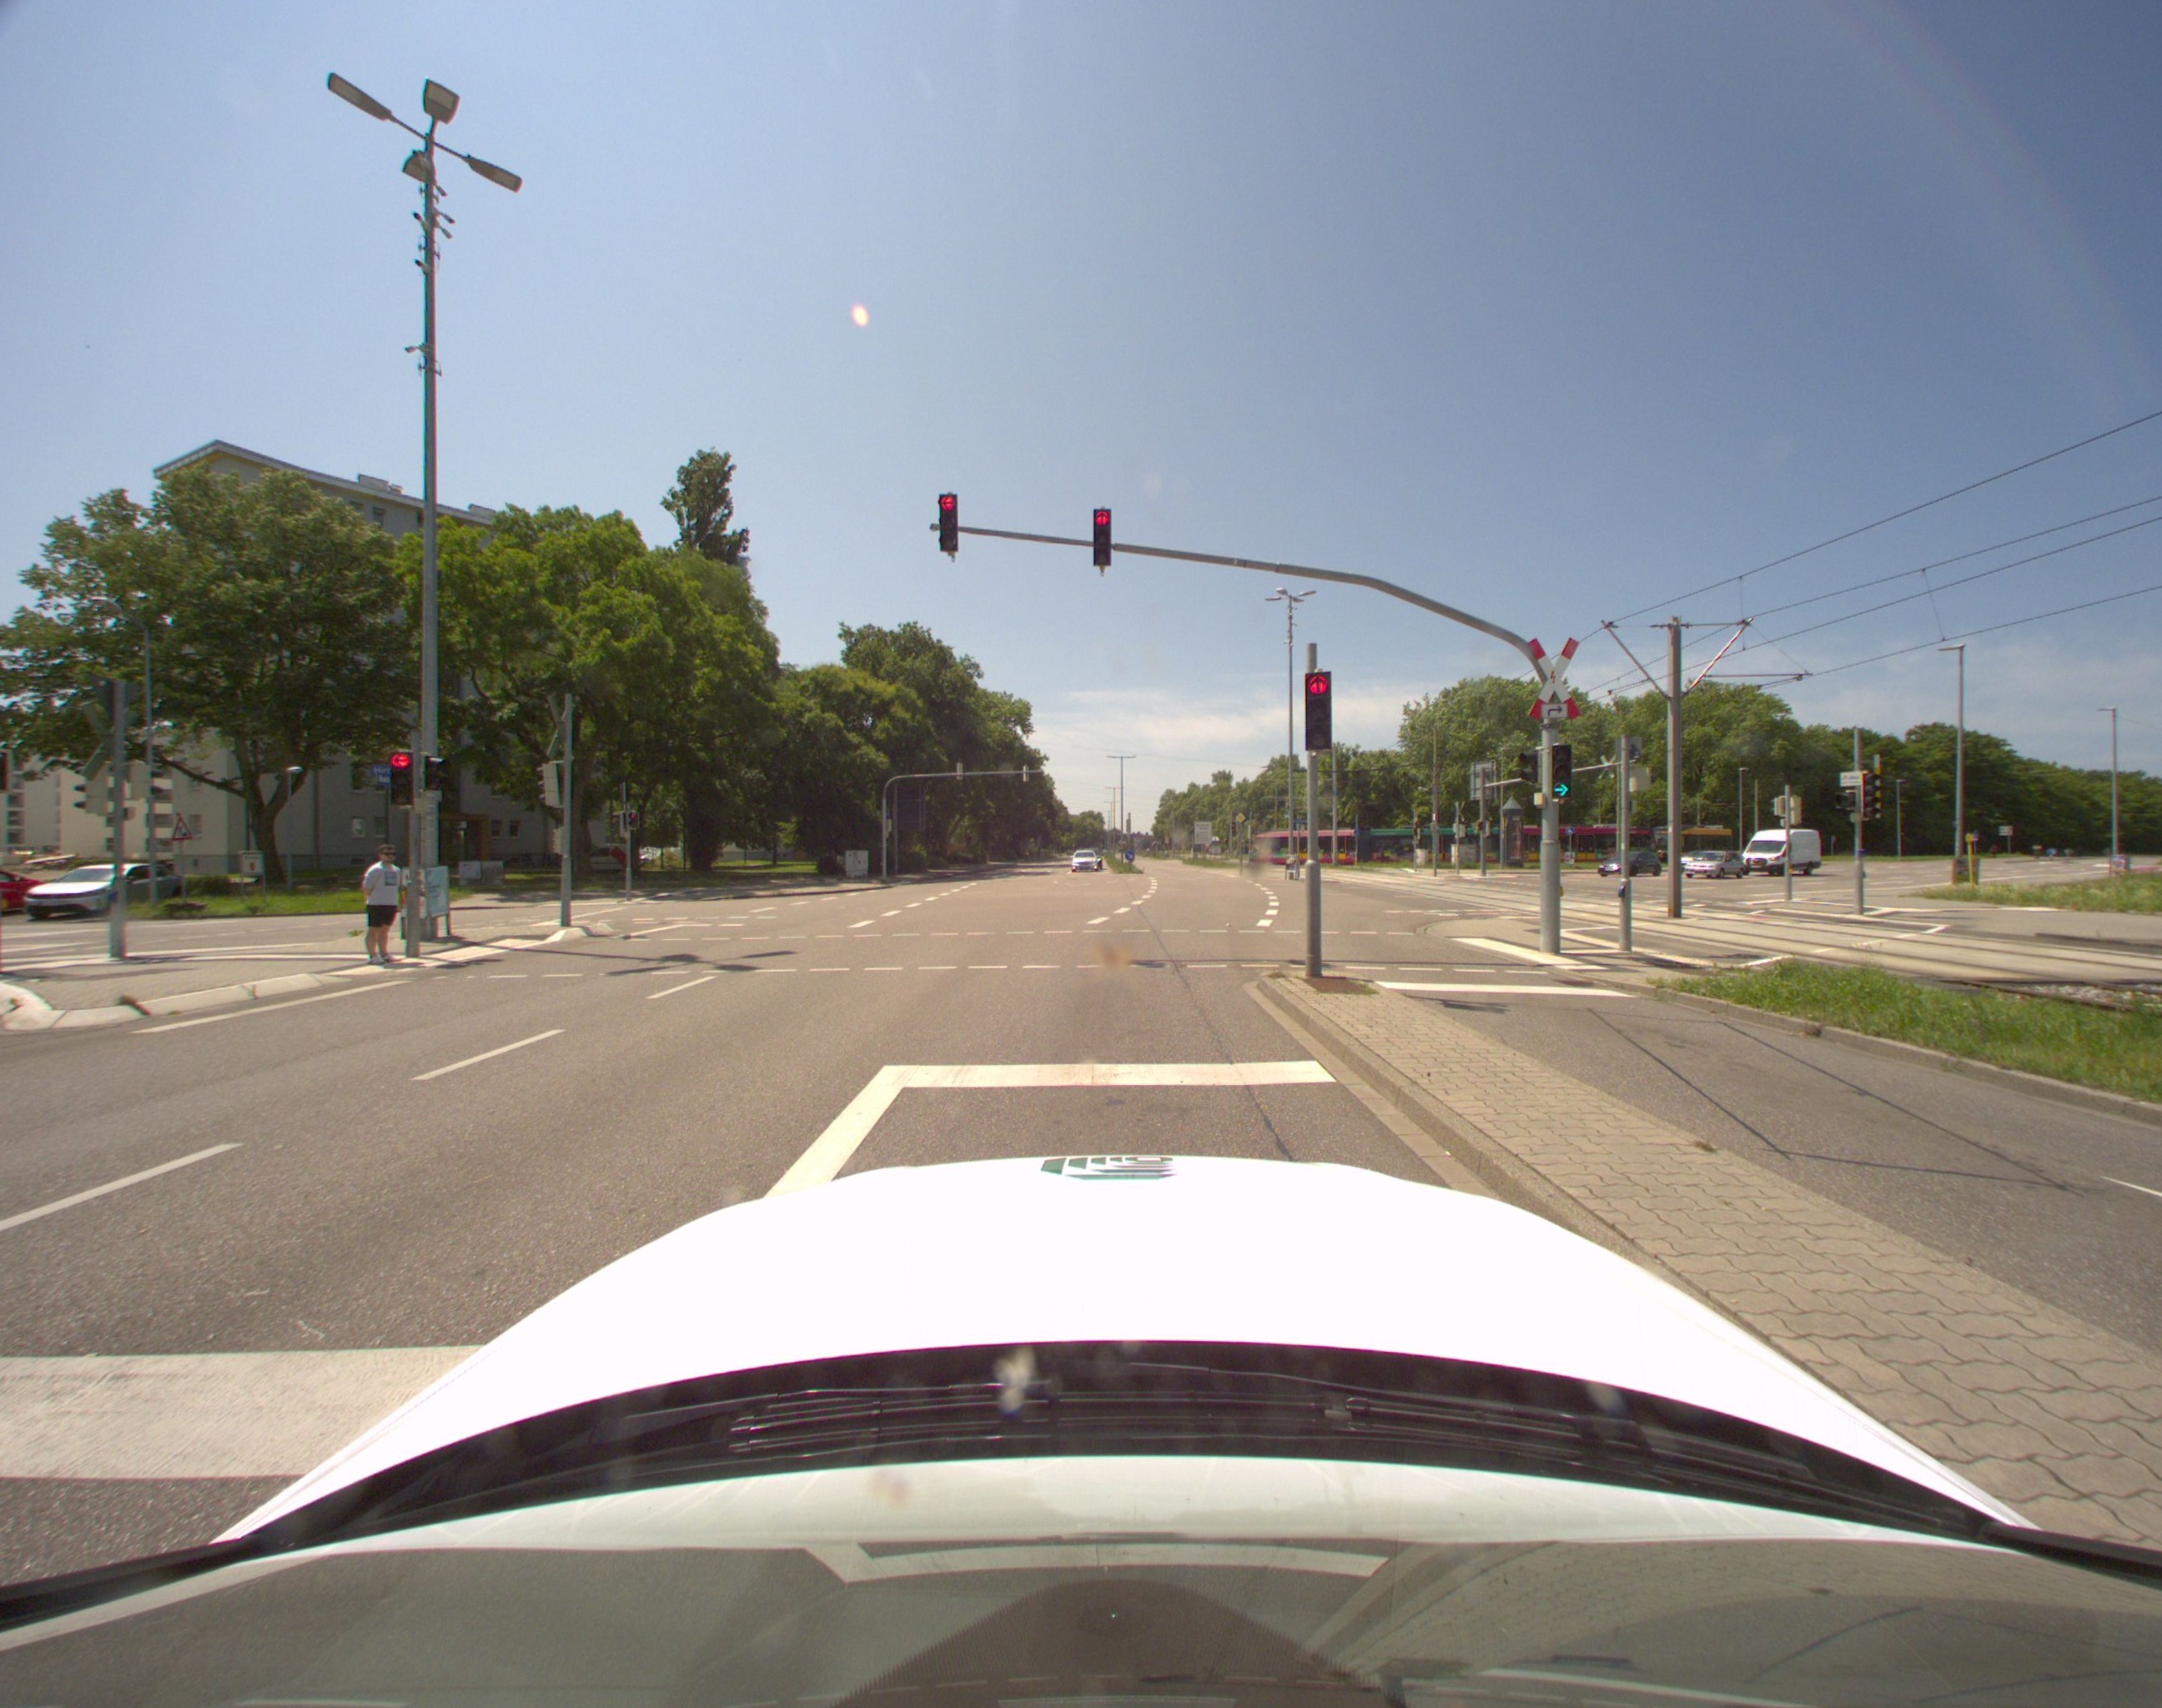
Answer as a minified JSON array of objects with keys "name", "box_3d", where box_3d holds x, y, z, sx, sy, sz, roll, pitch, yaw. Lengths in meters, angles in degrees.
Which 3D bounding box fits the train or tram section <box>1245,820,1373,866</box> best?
[{"name":"train or tram section","box_3d":[21.637,-0.893,78.472,2.936,3.812,12.930,3,-3,-36]}]

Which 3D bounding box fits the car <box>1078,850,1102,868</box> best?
[{"name":"car","box_3d":[0.728,0.361,63.515,1.704,1.365,3.867,0,0,2]}]

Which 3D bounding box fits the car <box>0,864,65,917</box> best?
[{"name":"car","box_3d":[-31.831,1.059,23.122,1.620,1.464,3.980,1,0,-14]}]

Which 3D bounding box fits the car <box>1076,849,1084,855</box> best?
[{"name":"car","box_3d":[-0.126,-0.436,181.410,1.665,1.490,3.712,0,0,2]}]

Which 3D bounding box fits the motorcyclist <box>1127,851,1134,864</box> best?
[{"name":"motorcyclist","box_3d":[6.116,0.414,99.789,0.787,1.643,1.211,1,0,2]}]

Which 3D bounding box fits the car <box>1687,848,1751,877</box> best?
[{"name":"car","box_3d":[34.677,0.435,44.240,3.821,1.463,1.623,0,0,-34]}]

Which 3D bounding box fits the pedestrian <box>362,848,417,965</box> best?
[{"name":"pedestrian","box_3d":[-10.132,0.751,11.943,0.381,1.687,0.485,0,0,-2]}]

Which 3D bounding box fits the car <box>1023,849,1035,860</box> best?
[{"name":"car","box_3d":[-9.384,0.111,147.556,1.988,2.013,3.998,3,0,-1]}]

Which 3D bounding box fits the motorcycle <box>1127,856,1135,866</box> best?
[{"name":"motorcycle","box_3d":[6.122,0.867,99.822,0.844,1.255,2.449,1,0,1]}]

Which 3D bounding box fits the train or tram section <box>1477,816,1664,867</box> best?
[{"name":"train or tram section","box_3d":[41.037,-1.015,68.573,13.948,3.920,2.923,1,-3,0]}]

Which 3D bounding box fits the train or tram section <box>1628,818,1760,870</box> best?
[{"name":"train or tram section","box_3d":[53.746,-0.741,71.232,13.982,3.920,2.900,2,-3,-24]}]

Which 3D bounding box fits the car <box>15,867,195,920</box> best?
[{"name":"car","box_3d":[-29.044,1.119,24.437,1.629,1.380,3.974,1,0,-20]}]

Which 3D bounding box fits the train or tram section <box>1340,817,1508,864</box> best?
[{"name":"train or tram section","box_3d":[29.759,-1.047,71.182,13.290,3.812,2.940,0,-3,25]}]

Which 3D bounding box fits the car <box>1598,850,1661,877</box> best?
[{"name":"car","box_3d":[31.015,0.500,46.024,3.519,1.463,1.624,-1,0,-30]}]

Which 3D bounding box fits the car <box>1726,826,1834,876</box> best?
[{"name":"car","box_3d":[41.934,-0.195,48.819,7.306,2.802,2.691,0,0,-30]}]

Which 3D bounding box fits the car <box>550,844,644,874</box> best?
[{"name":"car","box_3d":[-29.437,0.263,49.629,1.769,1.768,4.577,0,0,41]}]

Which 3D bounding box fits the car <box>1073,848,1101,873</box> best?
[{"name":"car","box_3d":[0.449,0.427,56.542,1.778,1.628,3.867,0,0,2]}]
